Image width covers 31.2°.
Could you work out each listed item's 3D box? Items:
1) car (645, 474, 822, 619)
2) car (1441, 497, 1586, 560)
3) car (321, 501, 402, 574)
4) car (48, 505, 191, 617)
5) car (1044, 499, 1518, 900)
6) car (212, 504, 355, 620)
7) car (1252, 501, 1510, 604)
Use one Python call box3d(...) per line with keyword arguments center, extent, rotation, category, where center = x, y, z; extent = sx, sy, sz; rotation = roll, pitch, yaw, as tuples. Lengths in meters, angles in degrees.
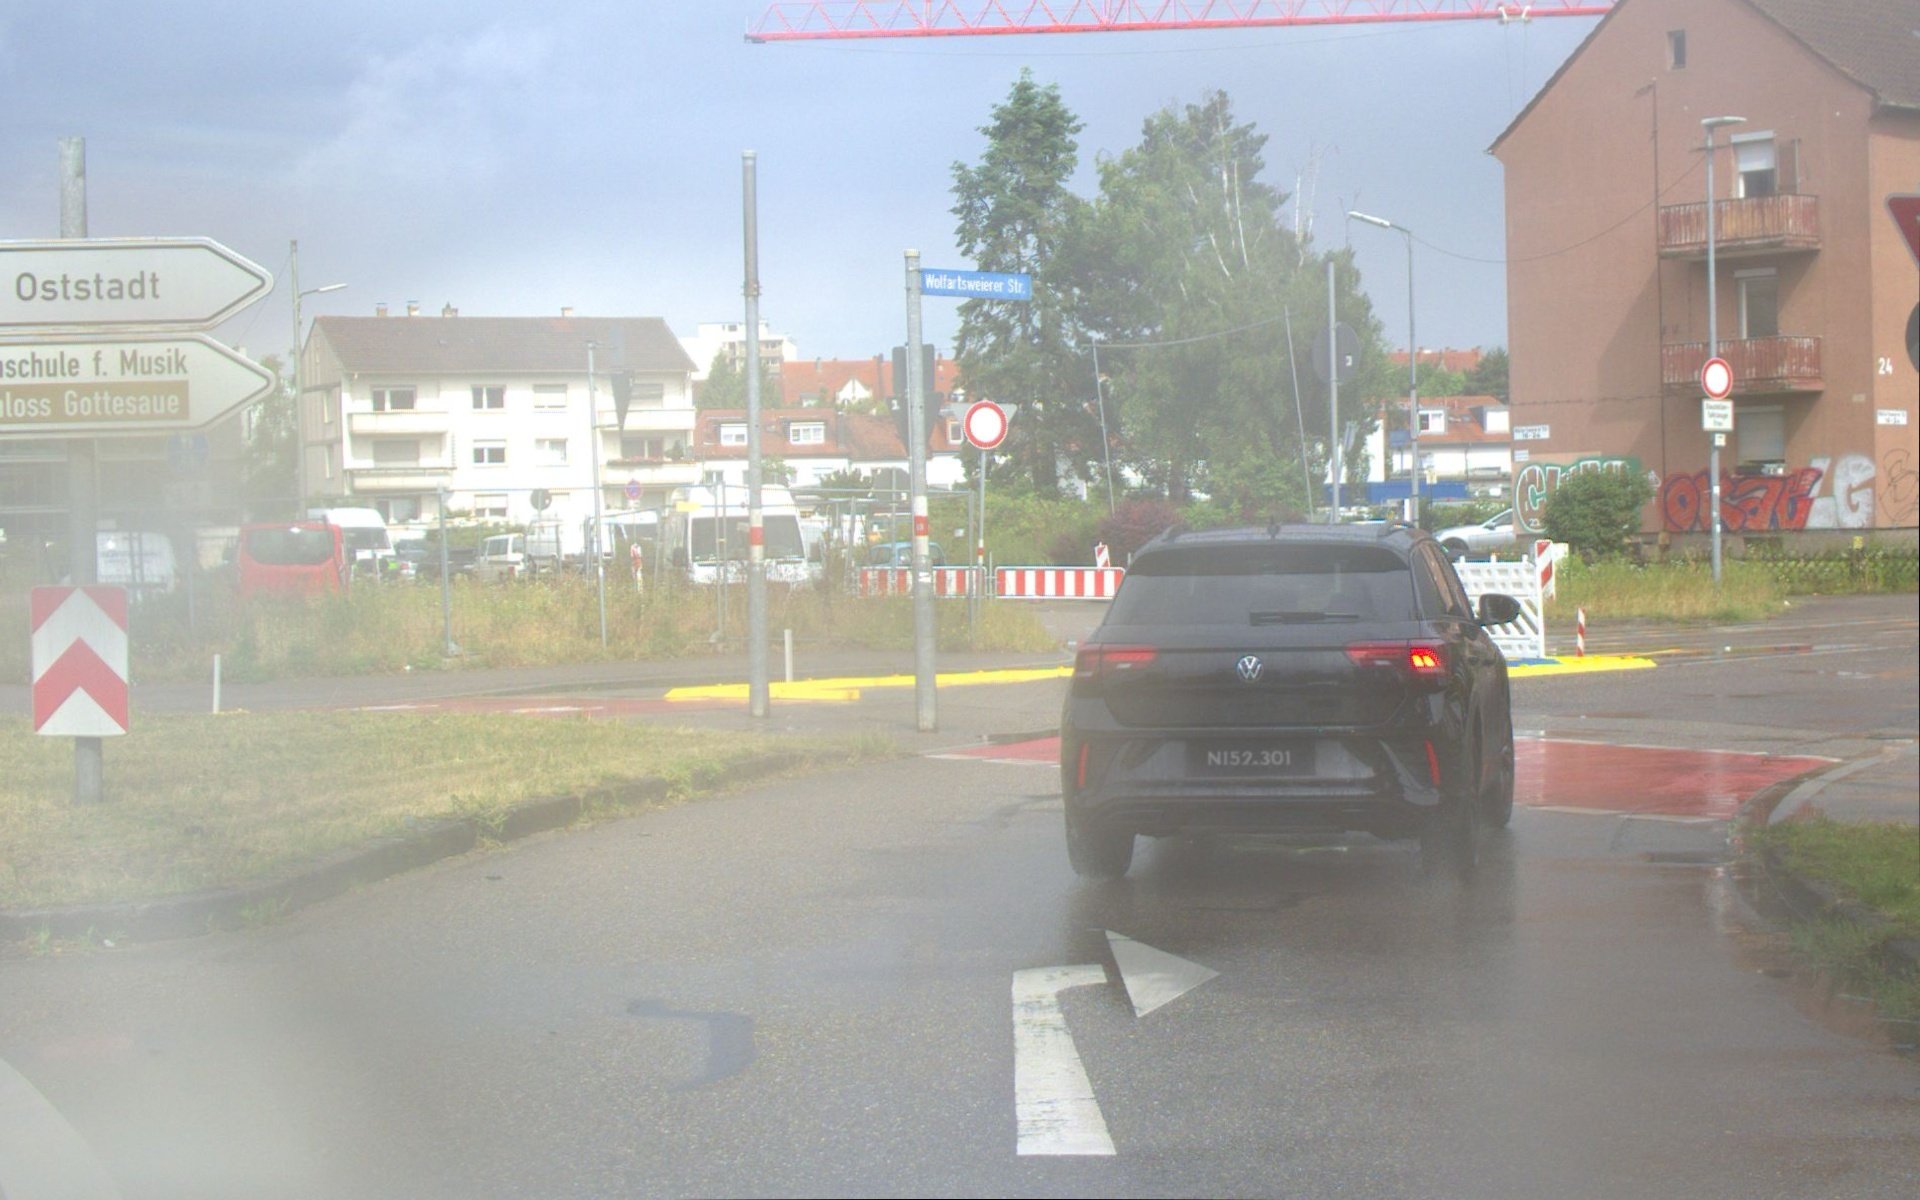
box3d(center=(-3.746, -0.937, 55.769), extent=(2.036, 2.077, 6.269), rotation=(-1, 3, -11), category="car")
box3d(center=(14.157, -1.832, 87.849), extent=(3.512, 1.514, 1.616), rotation=(-1, 1, 14), category="car")
box3d(center=(-18.958, -2.015, 108.778), extent=(2.372, 2.077, 4.973), rotation=(-1, 3, -11), category="car")
box3d(center=(-14.314, -0.698, 58.443), extent=(1.851, 1.694, 4.002), rotation=(-2, 4, -21), category="car")
box3d(center=(1.540, 0.371, 16.001), extent=(1.898, 1.612, 3.999), rotation=(-1, 1, 7), category="car")
box3d(center=(-11.155, -0.655, 56.536), extent=(1.923, 1.694, 4.002), rotation=(-1, 3, -16), category="car")
box3d(center=(7.142, -0.816, 58.467), extent=(4.044, 1.627, 1.617), rotation=(-1, 1, -8), category="car")
